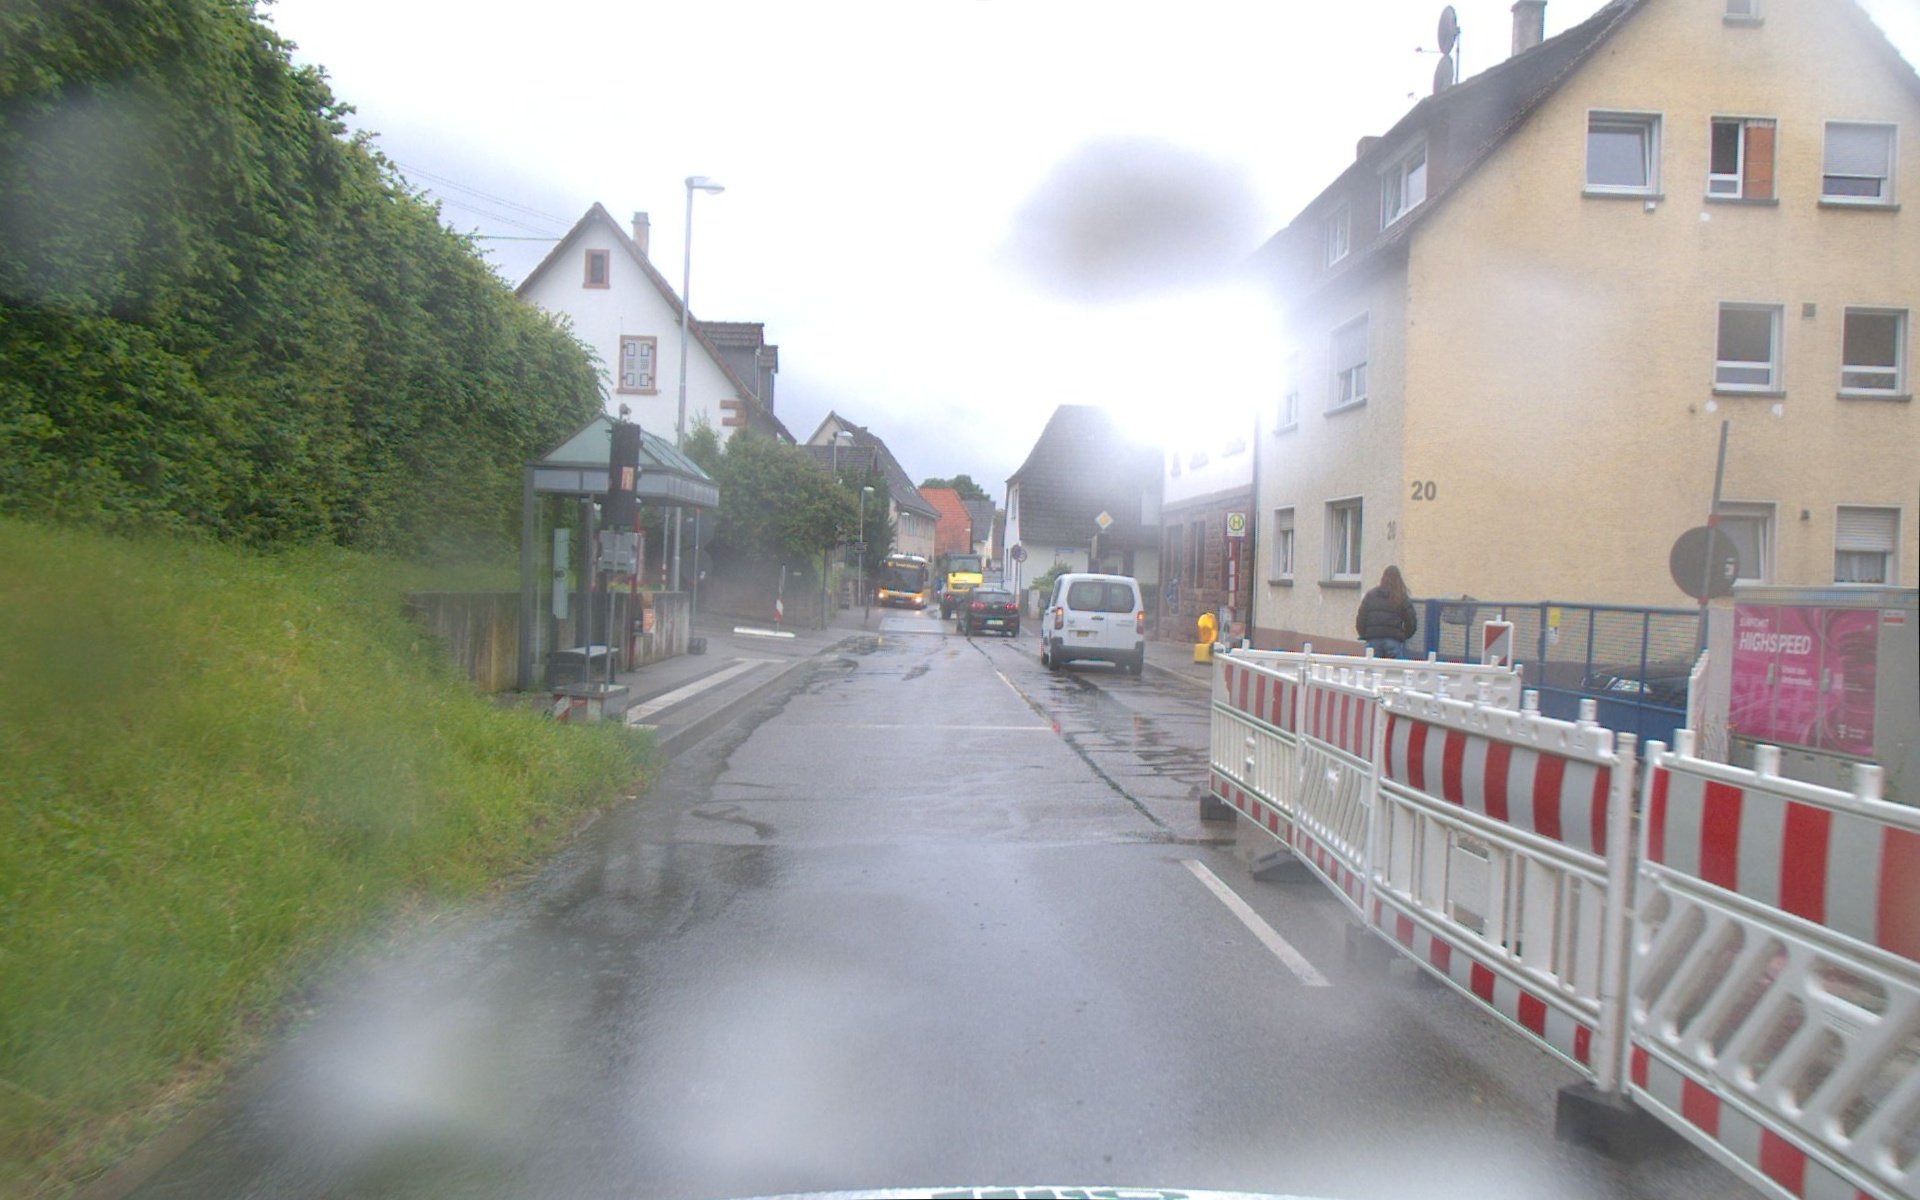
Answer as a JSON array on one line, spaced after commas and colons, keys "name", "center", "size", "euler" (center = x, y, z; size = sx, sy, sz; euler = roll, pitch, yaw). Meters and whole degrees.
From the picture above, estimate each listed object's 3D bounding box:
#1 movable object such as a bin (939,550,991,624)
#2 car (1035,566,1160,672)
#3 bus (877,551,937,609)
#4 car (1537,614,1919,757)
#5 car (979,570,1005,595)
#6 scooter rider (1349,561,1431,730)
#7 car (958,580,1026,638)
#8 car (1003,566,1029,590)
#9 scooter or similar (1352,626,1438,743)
[{"name": "movable object such as a bin", "center": [0.175, -0.526, 65.420], "size": [1.693, 2.699, 3.972], "euler": [4, 0, -3]}, {"name": "car", "center": [2.594, 0.323, 32.088], "size": [1.856, 1.825, 3.812], "euler": [4, 1, -3]}, {"name": "bus", "center": [-3.051, -1.307, 98.649], "size": [2.595, 3.051, 12.198], "euler": [3, 2, 2]}, {"name": "car", "center": [9.758, 1.054, 21.073], "size": [4.062, 1.324, 1.911], "euler": [6, 0, -2]}, {"name": "car", "center": [2.691, -1.457, 139.303], "size": [1.951, 2.049, 4.002], "euler": [1, 0, 5]}, {"name": "scooter rider", "center": [4.634, 0.487, 17.851], "size": [0.715, 1.763, 0.518], "euler": [2, -1, 5]}, {"name": "car", "center": [0.989, 0.255, 52.509], "size": [1.774, 1.624, 3.753], "euler": [4, 1, -4]}, {"name": "car", "center": [4.336, -1.673, 126.760], "size": [1.812, 1.825, 4.002], "euler": [1, 0, 4]}, {"name": "scooter or similar", "center": [4.594, 0.869, 17.541], "size": [0.607, 1.147, 1.403], "euler": [2, 0, 5]}]
